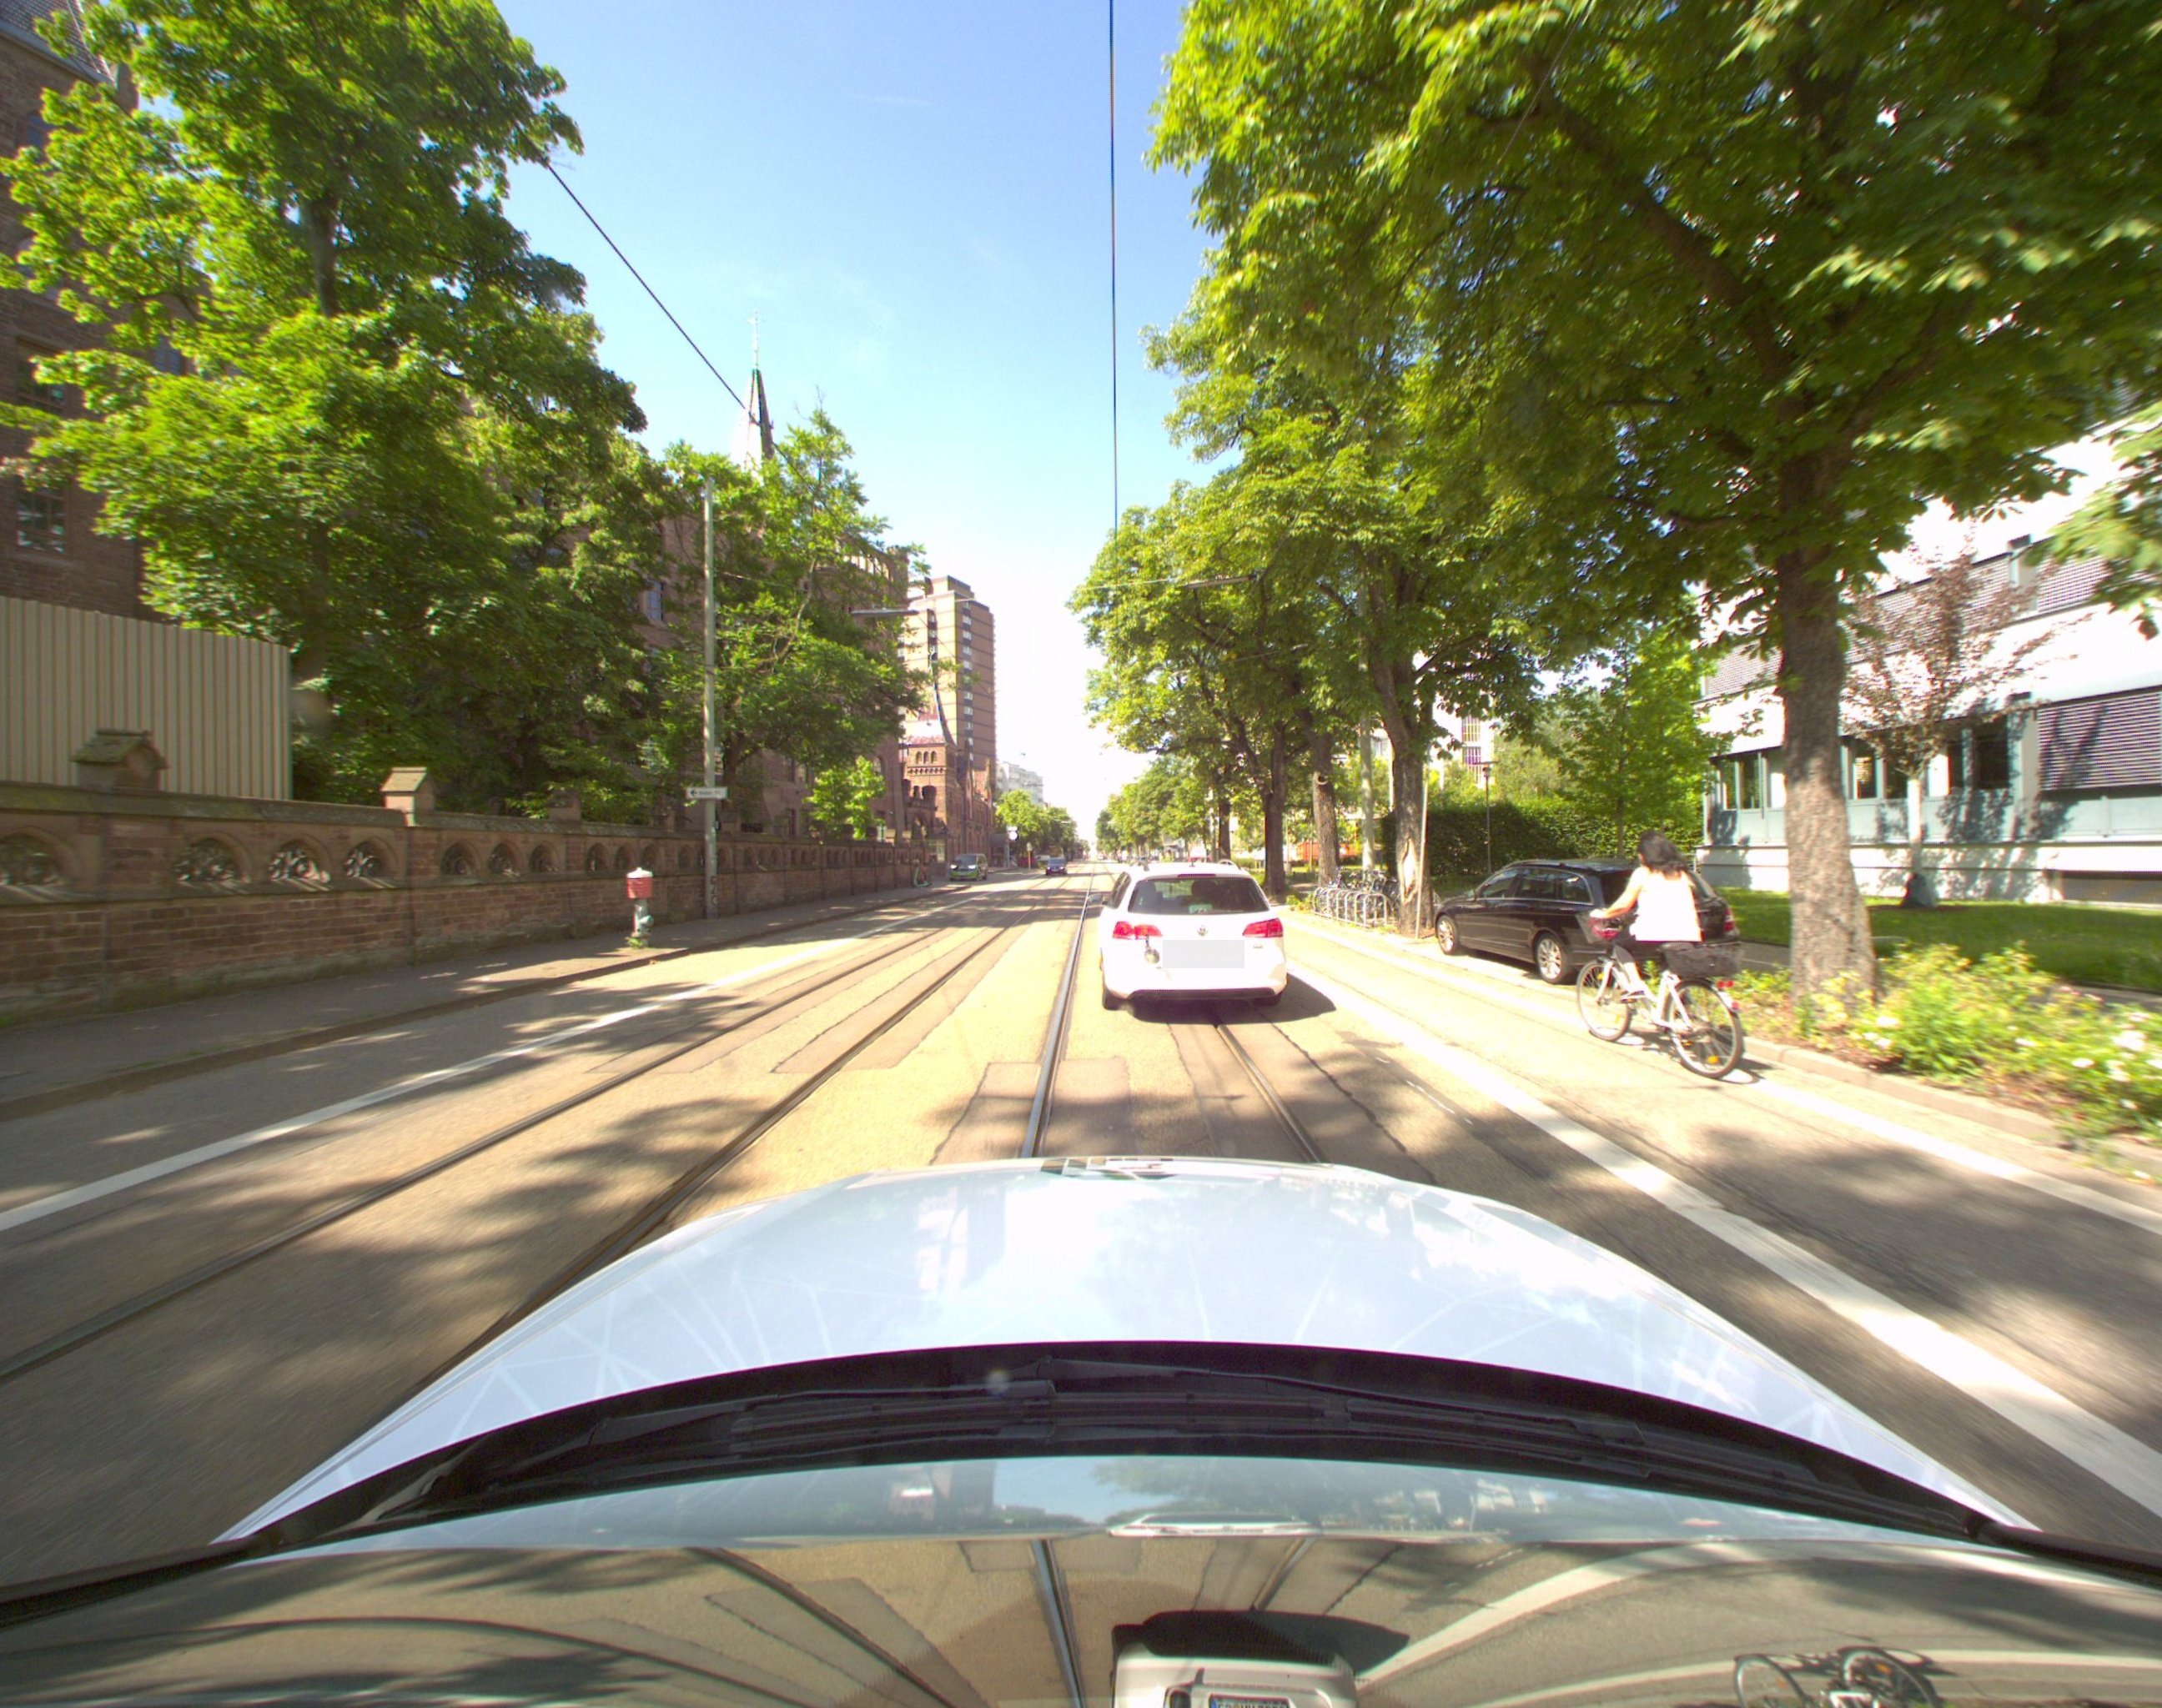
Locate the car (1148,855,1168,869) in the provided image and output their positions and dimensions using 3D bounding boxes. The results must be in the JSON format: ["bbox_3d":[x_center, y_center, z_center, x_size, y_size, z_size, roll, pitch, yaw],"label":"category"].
[{"bbox_3d":[7.677,0.786,81.345,1.707,1.401,3.845,-2,0,2],"label":"car"}]

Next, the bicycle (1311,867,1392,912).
[{"bbox_3d":[6.469,0.840,19.513,1.784,1.010,0.487,-2,0,-4],"label":"bicycle"}]

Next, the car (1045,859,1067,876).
[{"bbox_3d":[-2.072,1.099,68.164,1.487,1.384,3.644,-2,0,2],"label":"car"}]

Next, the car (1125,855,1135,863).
[{"bbox_3d":[8.671,0.828,144.530,1.707,1.401,3.845,-2,0,2],"label":"car"}]

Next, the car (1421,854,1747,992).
[{"bbox_3d":[6.361,0.738,11.063,1.658,1.444,4.635,-2,0,2],"label":"car"}]

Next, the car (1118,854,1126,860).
[{"bbox_3d":[9.313,0.730,186.139,1.707,1.401,3.845,-2,0,2],"label":"car"}]

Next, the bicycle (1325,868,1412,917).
[{"bbox_3d":[6.427,0.849,18.235,1.784,1.010,0.487,-2,0,-4],"label":"bicycle"}]

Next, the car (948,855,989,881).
[{"bbox_3d":[-8.037,0.948,58.594,1.985,1.757,4.716,-2,0,3],"label":"car"}]

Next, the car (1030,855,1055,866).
[{"bbox_3d":[-7.117,1.179,150.665,4.017,1.816,1.978,-1,0,-35],"label":"car"}]

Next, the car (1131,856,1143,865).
[{"bbox_3d":[8.511,0.980,124.770,1.707,1.401,3.845,-2,0,2],"label":"car"}]

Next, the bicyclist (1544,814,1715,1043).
[{"bbox_3d":[4.173,0.537,6.253,0.783,1.629,0.738,-2,0,1],"label":"bicyclist"}]

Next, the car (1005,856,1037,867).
[{"bbox_3d":[-8.673,1.017,117.583,4.131,1.530,1.919,1,0,-20],"label":"car"}]

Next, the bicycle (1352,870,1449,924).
[{"bbox_3d":[6.454,0.860,16.488,1.784,1.010,0.487,-2,0,-4],"label":"bicycle"}]

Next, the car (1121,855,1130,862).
[{"bbox_3d":[9.056,0.830,165.011,1.707,1.401,3.845,-2,0,2],"label":"car"}]

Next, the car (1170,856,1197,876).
[{"bbox_3d":[7.466,0.866,59.576,1.706,1.401,3.846,-2,0,3],"label":"car"}]

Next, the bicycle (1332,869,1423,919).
[{"bbox_3d":[6.420,0.854,17.648,1.784,1.010,0.487,-2,0,-4],"label":"bicycle"}]

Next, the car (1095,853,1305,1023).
[{"bbox_3d":[1.076,0.775,9.310,1.748,1.442,4.411,-1,-1,0],"label":"car"}]

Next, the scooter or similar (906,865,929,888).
[{"bbox_3d":[-8.418,1.149,41.911,0.400,1.155,1.150,-2,0,35],"label":"scooter or similar"}]

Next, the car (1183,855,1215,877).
[{"bbox_3d":[7.201,0.720,49.859,1.705,1.280,3.849,-2,0,5],"label":"car"}]

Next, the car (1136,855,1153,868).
[{"bbox_3d":[7.723,0.894,99.195,1.707,1.401,3.843,-2,0,1],"label":"car"}]

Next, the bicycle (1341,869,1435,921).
[{"bbox_3d":[6.434,0.857,17.071,1.784,1.010,0.487,-2,0,-4],"label":"bicycle"}]

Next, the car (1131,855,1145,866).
[{"bbox_3d":[7.845,0.926,112.303,1.707,1.401,3.845,-2,0,2],"label":"car"}]

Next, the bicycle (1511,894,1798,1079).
[{"bbox_3d":[4.197,0.897,6.209,0.808,1.078,2.013,-1,0,2],"label":"bicycle"}]

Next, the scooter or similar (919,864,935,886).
[{"bbox_3d":[-8.598,1.146,45.519,0.419,1.200,1.148,-2,0,16],"label":"scooter or similar"}]

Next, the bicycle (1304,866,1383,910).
[{"bbox_3d":[6.442,0.837,20.033,1.784,1.010,0.487,-2,0,-4],"label":"bicycle"}]
